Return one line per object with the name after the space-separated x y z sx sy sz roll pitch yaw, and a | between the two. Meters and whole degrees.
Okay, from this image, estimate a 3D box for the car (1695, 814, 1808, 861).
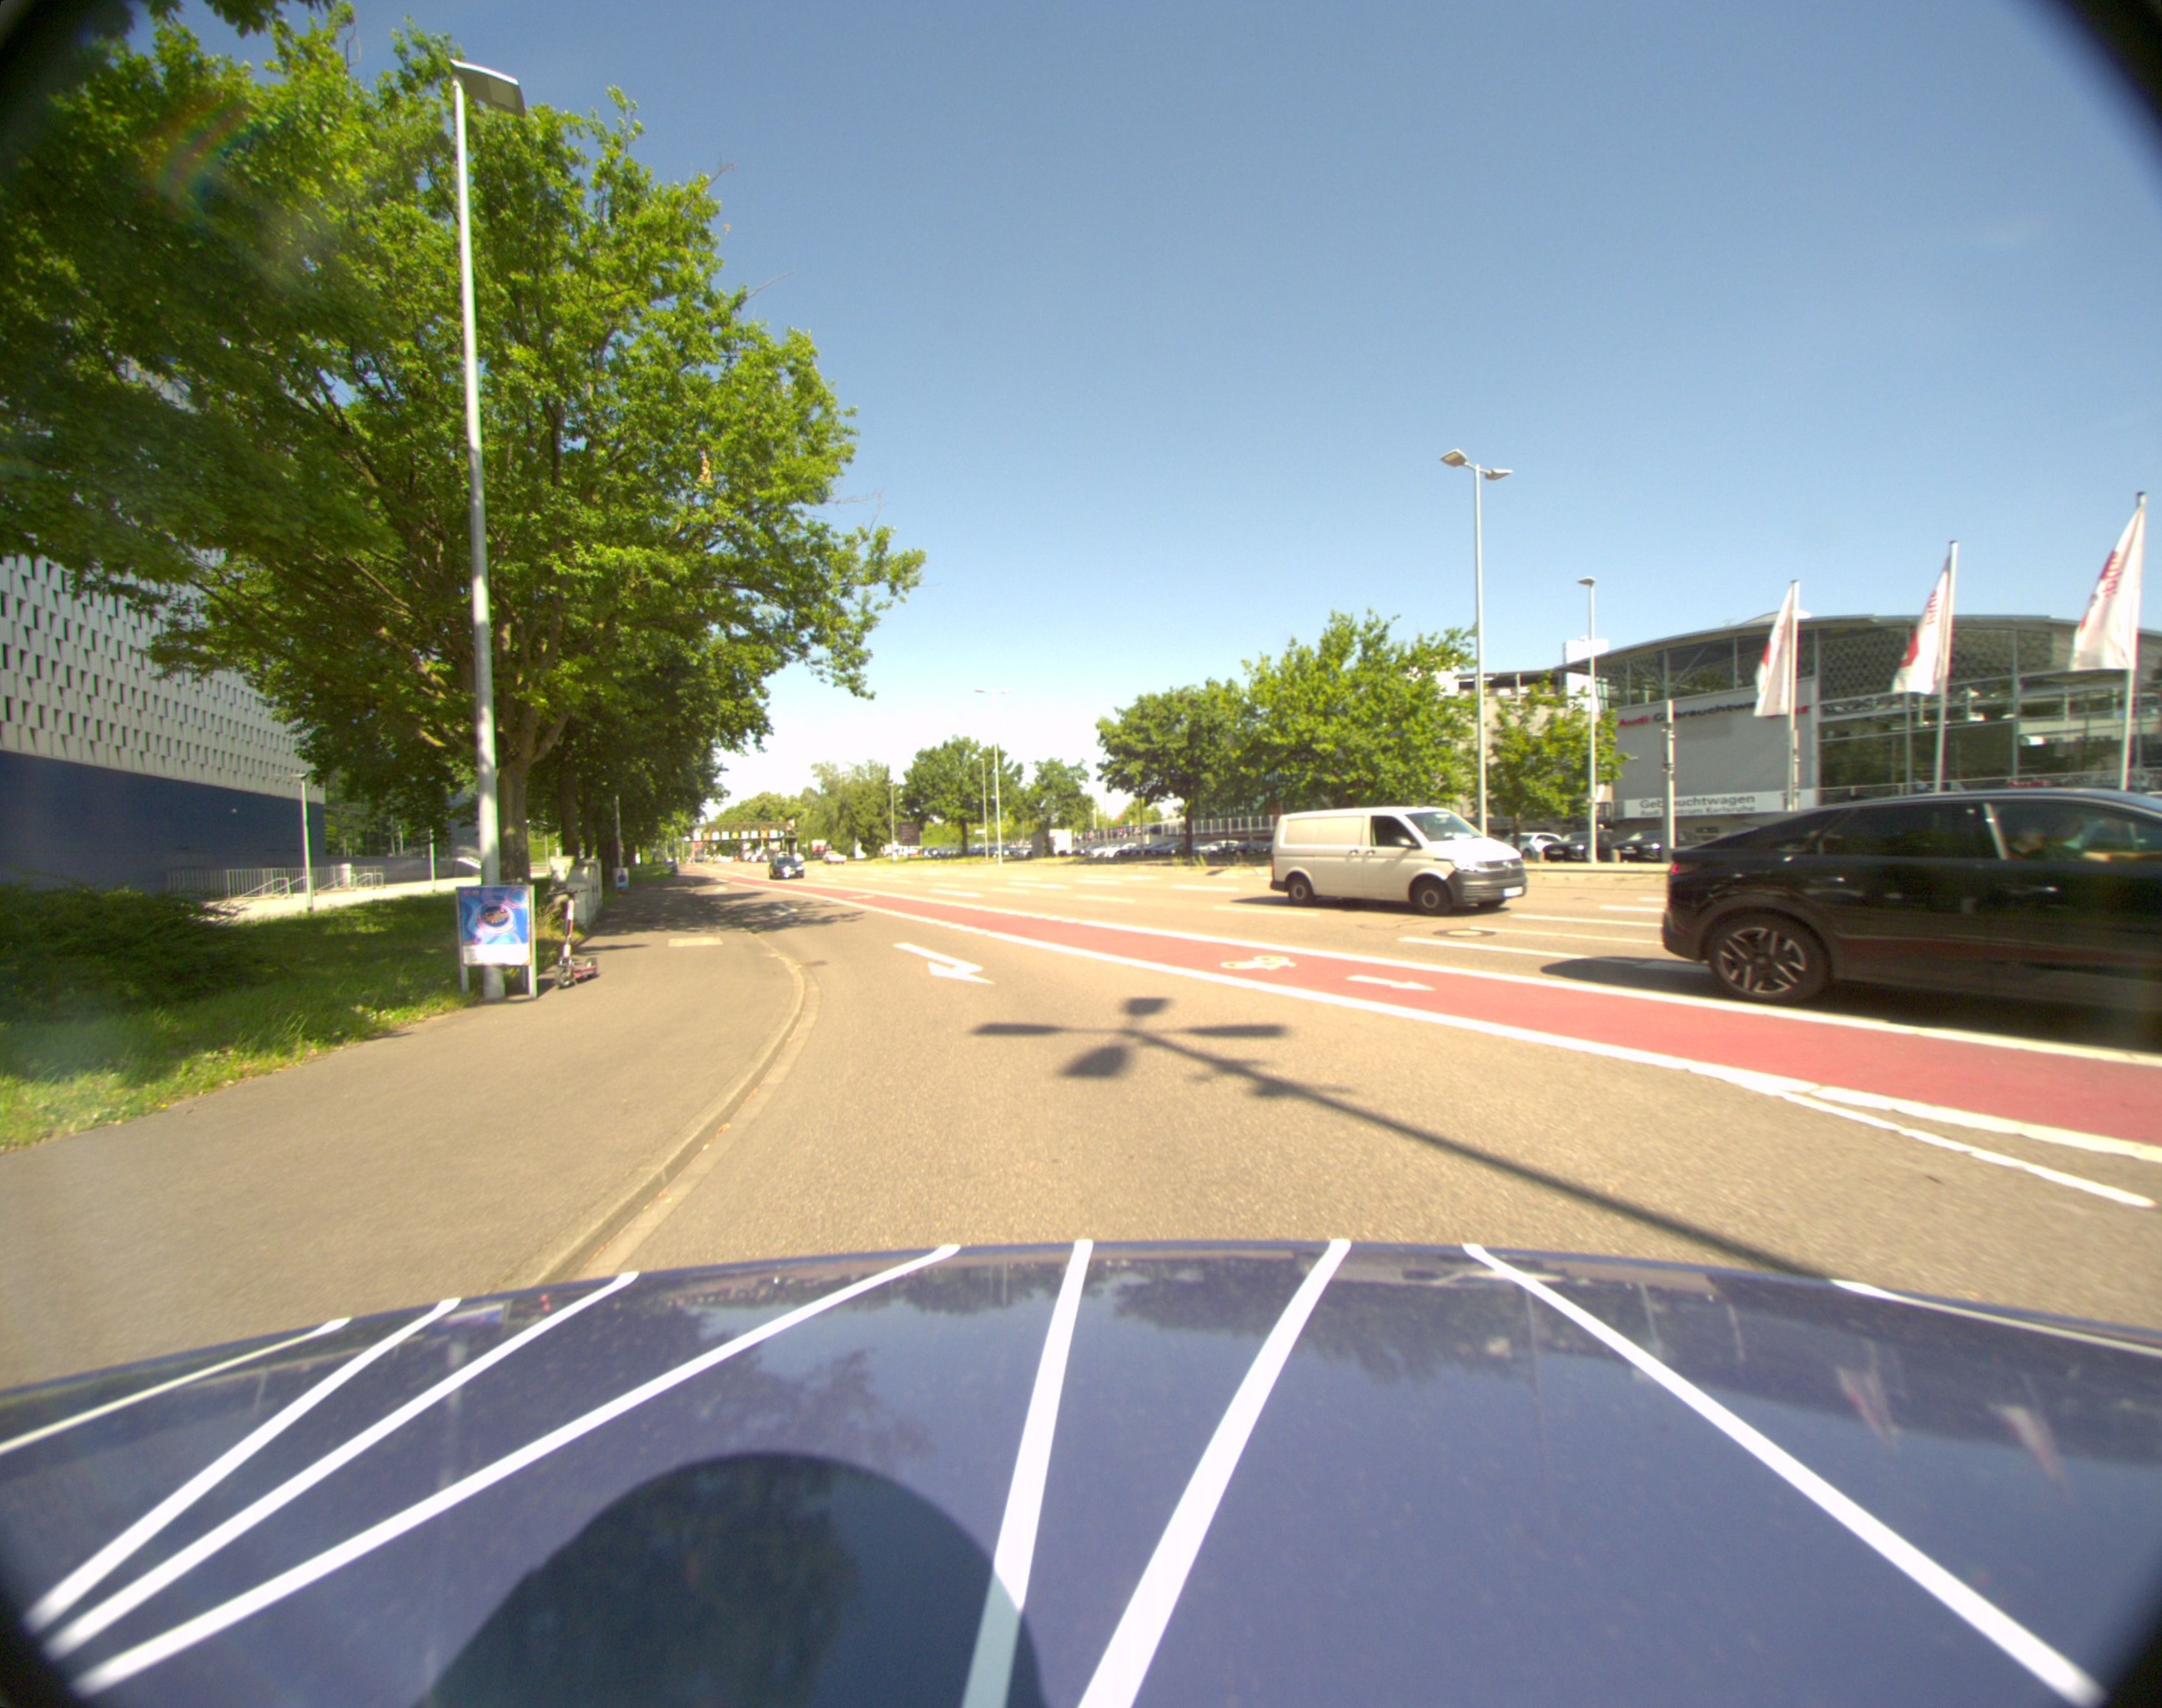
24.197 -0.602 27.396 3.894 1.553 1.926 -2 1 -30 | car

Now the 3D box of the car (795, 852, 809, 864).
-50.548 0.660 137.561 2.002 2.002 3.992 -3 1 -25 | car

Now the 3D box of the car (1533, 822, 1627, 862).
21.161 -0.518 32.182 3.894 1.564 1.782 -2 1 -30 | car

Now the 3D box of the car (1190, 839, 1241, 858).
9.528 -0.395 53.875 3.174 1.317 1.638 -2 1 -24 | car

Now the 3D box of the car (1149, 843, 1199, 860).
7.132 -0.210 58.165 3.421 1.242 1.592 -2 1 -24 | car

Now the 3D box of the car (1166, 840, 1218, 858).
8.219 -0.398 56.310 3.421 1.242 1.592 -2 1 -24 | car

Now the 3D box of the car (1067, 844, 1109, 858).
0.653 -0.273 69.955 3.421 1.242 1.592 -2 1 -24 | car

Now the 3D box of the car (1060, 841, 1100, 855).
-0.092 -0.553 71.622 3.421 1.242 1.592 -2 1 -24 | car

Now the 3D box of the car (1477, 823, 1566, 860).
19.981 -0.569 34.416 3.894 1.564 1.782 -2 1 -30 | car

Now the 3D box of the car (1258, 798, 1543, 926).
5.834 0.103 14.628 1.743 1.996 4.988 -4 2 -29 | car

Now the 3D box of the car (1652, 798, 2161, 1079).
6.841 0.463 5.066 1.718 1.618 4.494 -4 1 -29 | car

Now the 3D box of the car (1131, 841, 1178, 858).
5.862 -0.359 60.677 3.421 1.242 1.592 -2 1 -24 | car

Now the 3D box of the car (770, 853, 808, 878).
-19.033 0.698 49.391 1.774 1.456 4.229 -4 2 -27 | car

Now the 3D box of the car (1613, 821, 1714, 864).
22.722 -0.466 29.605 3.894 1.564 1.782 -2 1 -30 | car

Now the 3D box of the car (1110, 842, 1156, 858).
4.334 -0.335 63.222 3.421 1.242 1.592 -2 1 -24 | car

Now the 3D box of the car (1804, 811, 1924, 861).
25.745 -0.602 24.967 3.894 1.537 1.884 -2 1 -30 | car

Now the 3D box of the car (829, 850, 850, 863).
-32.203 0.316 101.216 2.171 1.665 4.504 -3 1 -24 | car

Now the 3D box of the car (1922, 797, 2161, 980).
10.449 0.262 6.611 1.761 1.603 3.823 -3 1 -22 | car

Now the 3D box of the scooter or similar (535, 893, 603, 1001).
-6.399 1.116 9.543 0.255 1.175 1.388 -2 1 -16 | scooter or similar

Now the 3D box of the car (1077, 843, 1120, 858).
1.577 -0.284 67.759 3.421 1.242 1.592 -2 1 -24 | car

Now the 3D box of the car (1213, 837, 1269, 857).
10.917 -0.503 51.745 3.421 1.242 1.592 -2 1 -24 | car

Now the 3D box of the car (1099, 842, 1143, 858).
3.449 -0.322 65.239 3.421 1.242 1.592 -2 1 -24 | car
